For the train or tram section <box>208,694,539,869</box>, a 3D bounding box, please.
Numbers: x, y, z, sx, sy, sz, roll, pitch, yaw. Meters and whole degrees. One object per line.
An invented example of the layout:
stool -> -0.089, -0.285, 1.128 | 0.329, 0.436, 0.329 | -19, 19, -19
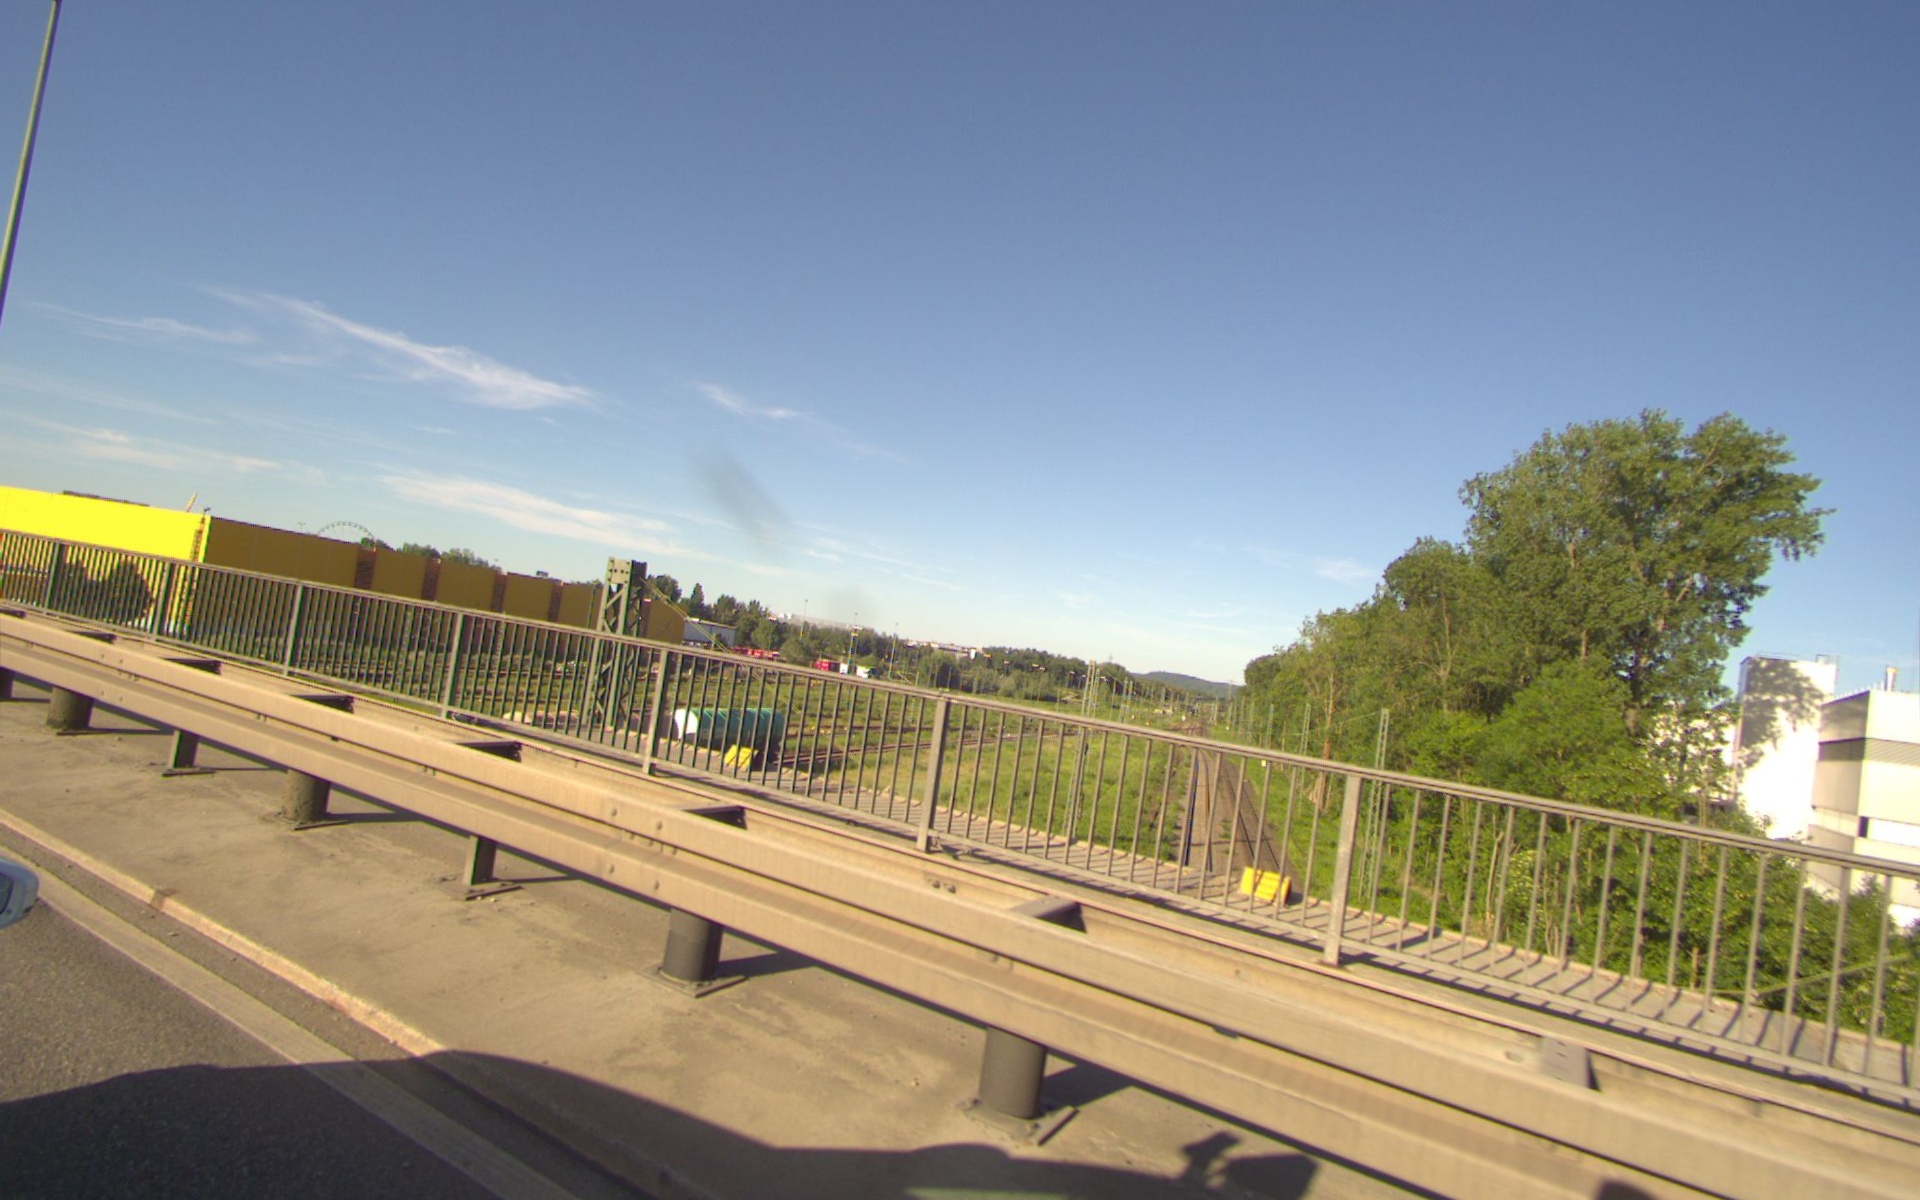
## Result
train or tram section -> -23.714, 7.056, 42.337 | 3.273, 5.326, 13.098 | 8, -1, 15

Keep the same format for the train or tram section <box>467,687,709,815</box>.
train or tram section -> -20.090, 7.972, 56.903 | 3.273, 5.322, 16.899 | 8, -2, 14

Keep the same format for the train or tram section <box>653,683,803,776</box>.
train or tram section -> -16.195, 8.953, 72.446 | 3.273, 5.243, 15.195 | 8, -1, 15
